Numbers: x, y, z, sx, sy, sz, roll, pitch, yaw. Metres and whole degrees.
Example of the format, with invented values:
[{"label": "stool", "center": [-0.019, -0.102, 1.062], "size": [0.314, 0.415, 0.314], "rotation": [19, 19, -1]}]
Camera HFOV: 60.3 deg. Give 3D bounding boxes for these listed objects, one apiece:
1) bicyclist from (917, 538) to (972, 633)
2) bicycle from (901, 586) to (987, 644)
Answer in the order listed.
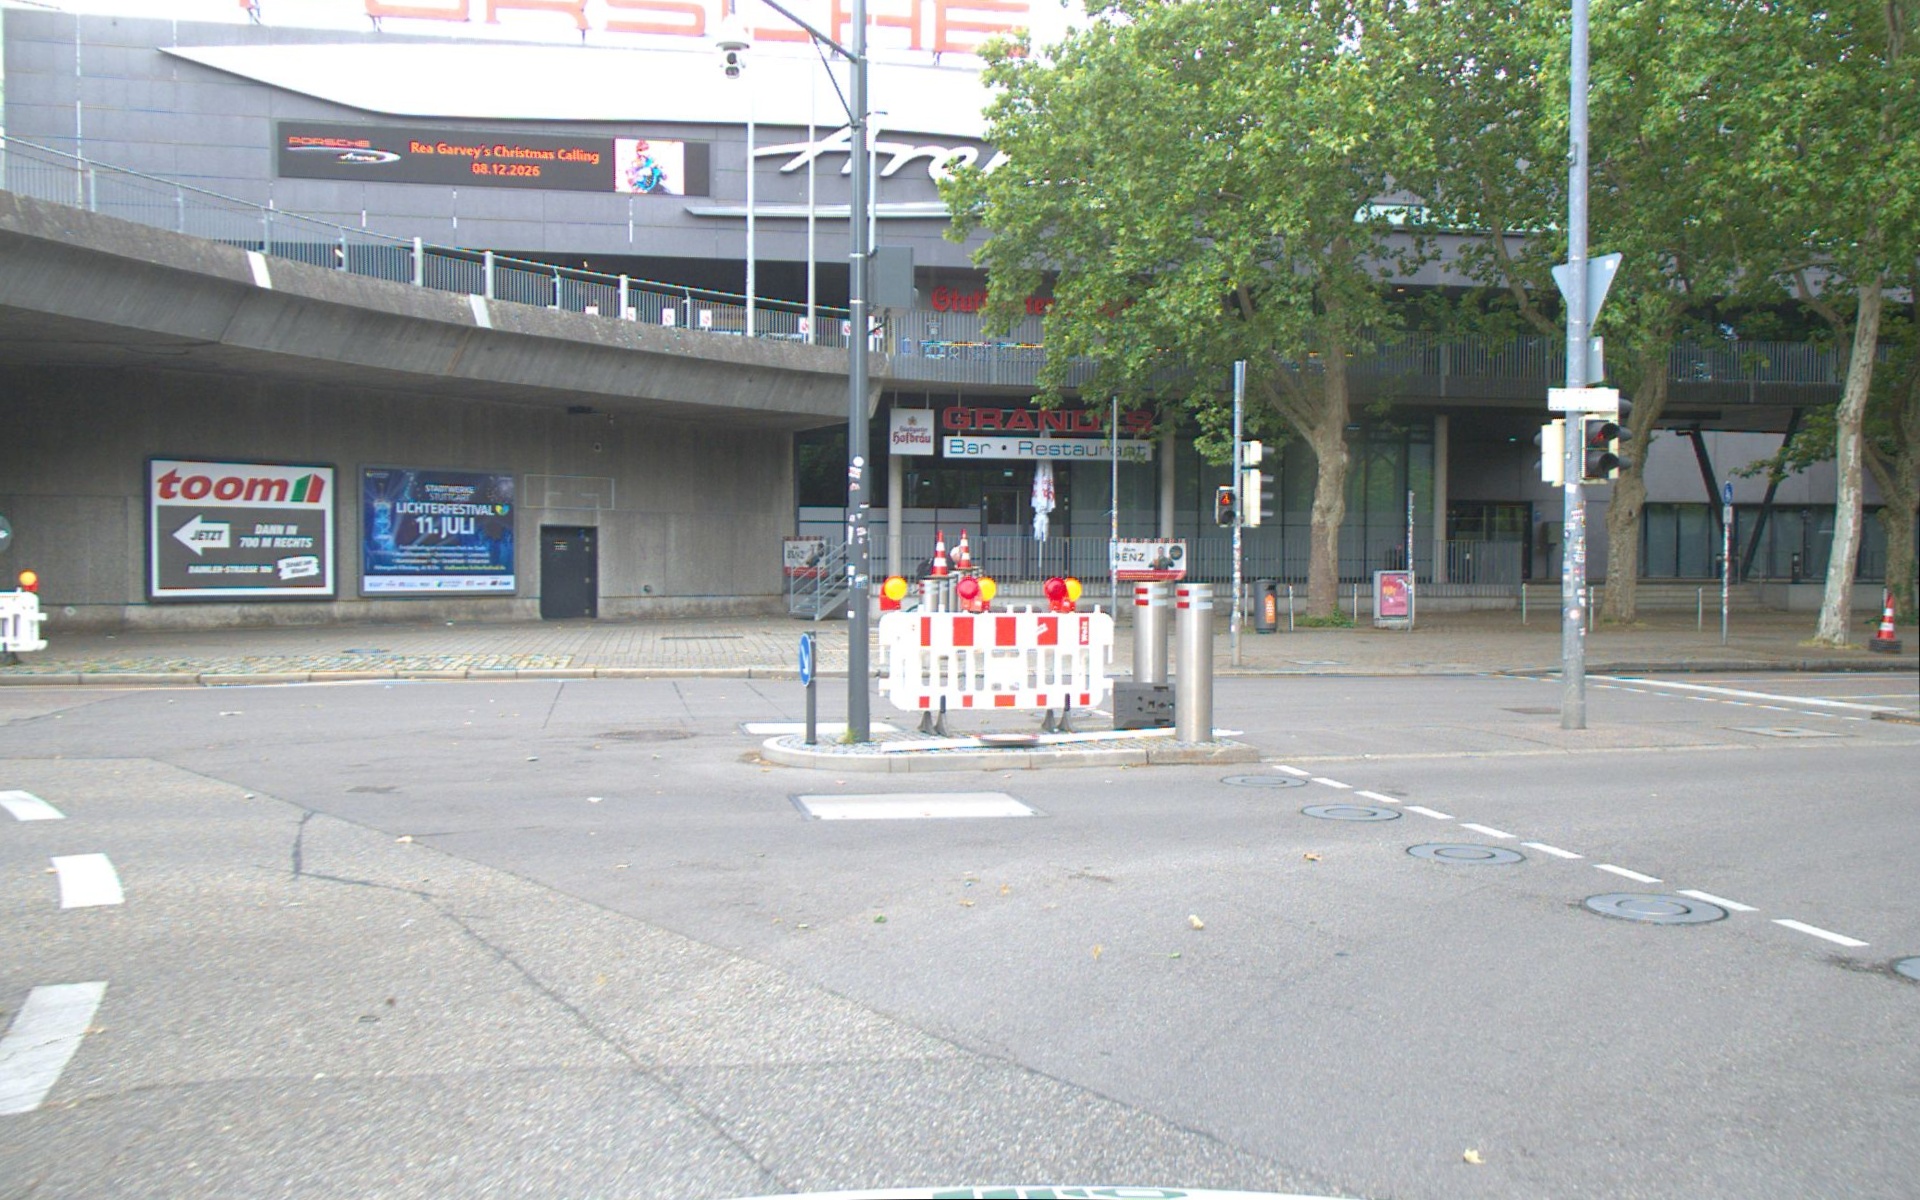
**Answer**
[{"label": "bicyclist", "center": [-0.292, -0.267, 30.759], "size": [0.836, 1.727, 0.764], "rotation": [2, 0, -12]}, {"label": "bicycle", "center": [-0.303, 0.274, 30.752], "size": [1.506, 1.031, 0.515], "rotation": [2, 0, -12]}]
